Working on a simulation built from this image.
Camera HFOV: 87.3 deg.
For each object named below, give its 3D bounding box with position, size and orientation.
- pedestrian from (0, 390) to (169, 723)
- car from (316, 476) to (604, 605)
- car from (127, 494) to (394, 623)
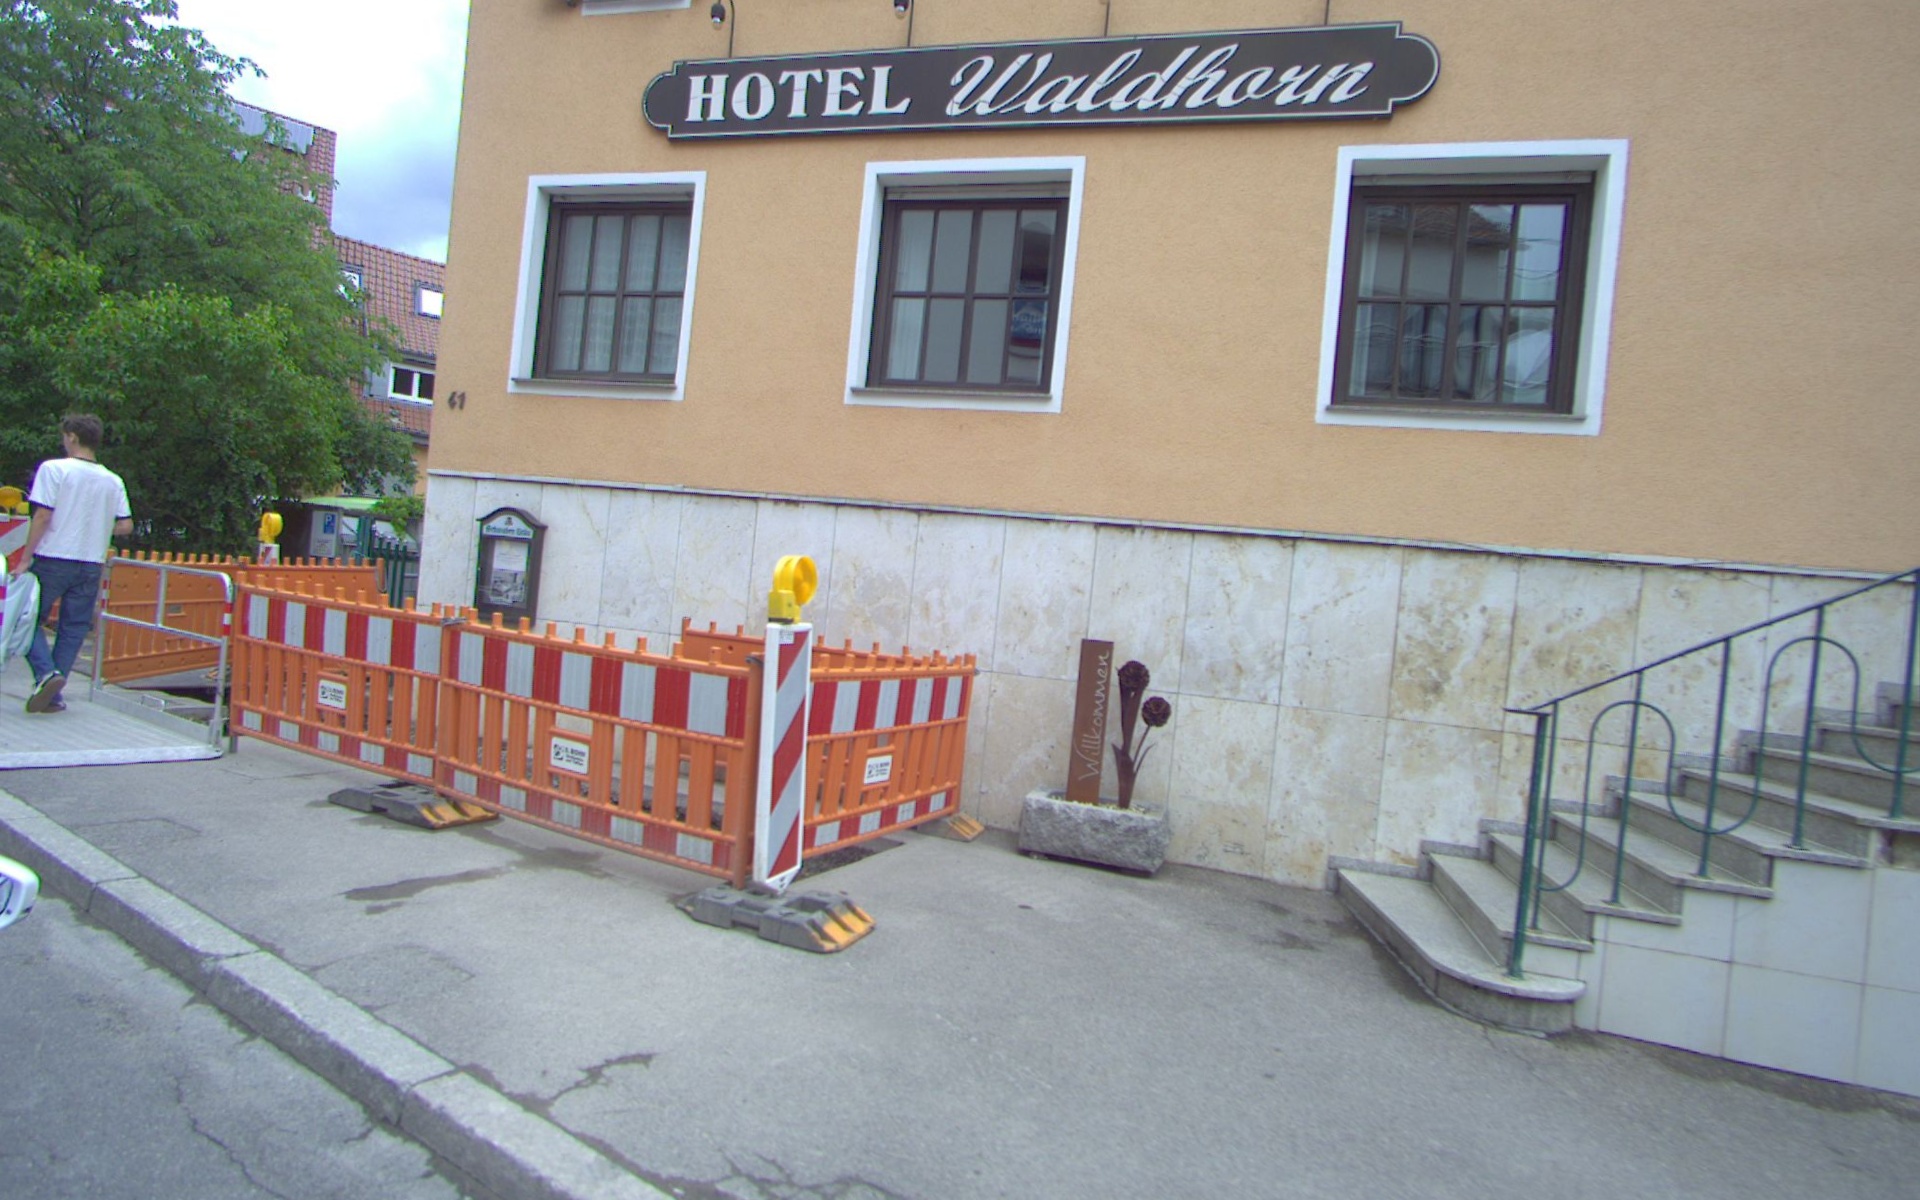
[{"bbox_3d":[-5.838,-0.269,6.484,0.822,1.975,0.799,7,2,31],"label":"pedestrian"},{"bbox_3d":[-8.274,-0.916,17.019,1.717,1.582,3.995,6,-1,29],"label":"car"},{"bbox_3d":[-14.384,-0.802,21.035,4.176,2.058,1.987,7,0,-27],"label":"car"}]
